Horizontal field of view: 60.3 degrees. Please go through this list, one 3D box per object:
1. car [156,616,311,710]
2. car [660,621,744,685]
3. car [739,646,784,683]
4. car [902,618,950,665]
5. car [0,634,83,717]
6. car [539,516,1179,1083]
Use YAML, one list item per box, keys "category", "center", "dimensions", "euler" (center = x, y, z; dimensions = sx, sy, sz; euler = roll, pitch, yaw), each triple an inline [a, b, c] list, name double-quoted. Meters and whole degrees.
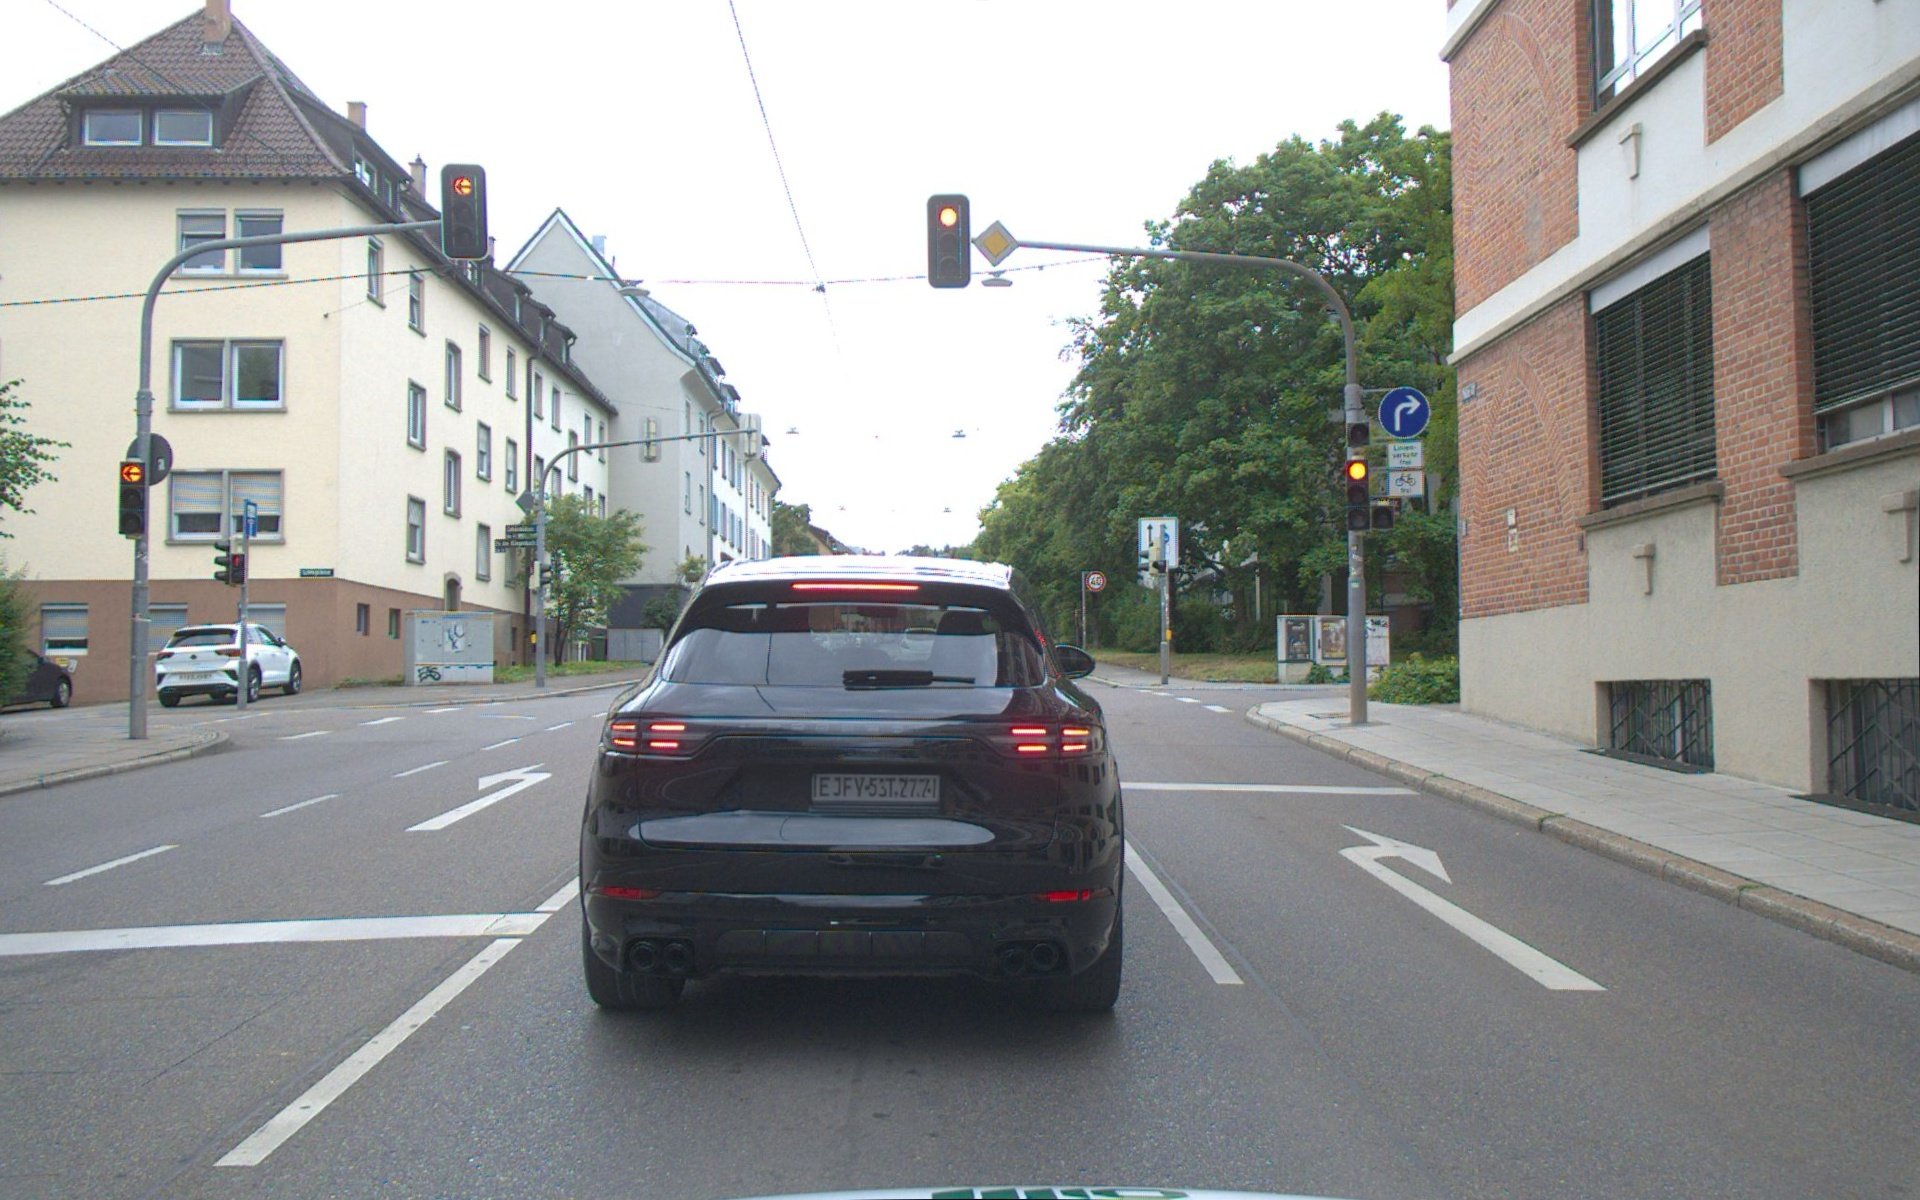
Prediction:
- category: "car"
  center: [-14.715, 1.225, 33.707]
  dimensions: [1.638, 1.691, 3.995]
  euler: [-3, 0, -5]
- category: "car"
  center: [-7.054, 1.418, 45.513]
  dimensions: [1.630, 1.545, 3.739]
  euler: [-4, 0, 0]
- category: "car"
  center: [-8.291, 2.673, 69.238]
  dimensions: [1.637, 1.386, 3.997]
  euler: [0, 0, -4]
- category: "car"
  center: [-1.270, 1.477, 60.090]
  dimensions: [1.654, 1.579, 3.887]
  euler: [1, 0, -2]
- category: "car"
  center: [-19.659, 1.548, 33.447]
  dimensions: [1.636, 1.573, 4.100]
  euler: [-3, 0, -1]
- category: "car"
  center: [-0.336, 0.627, 7.123]
  dimensions: [1.953, 1.726, 3.999]
  euler: [1, 0, -1]
